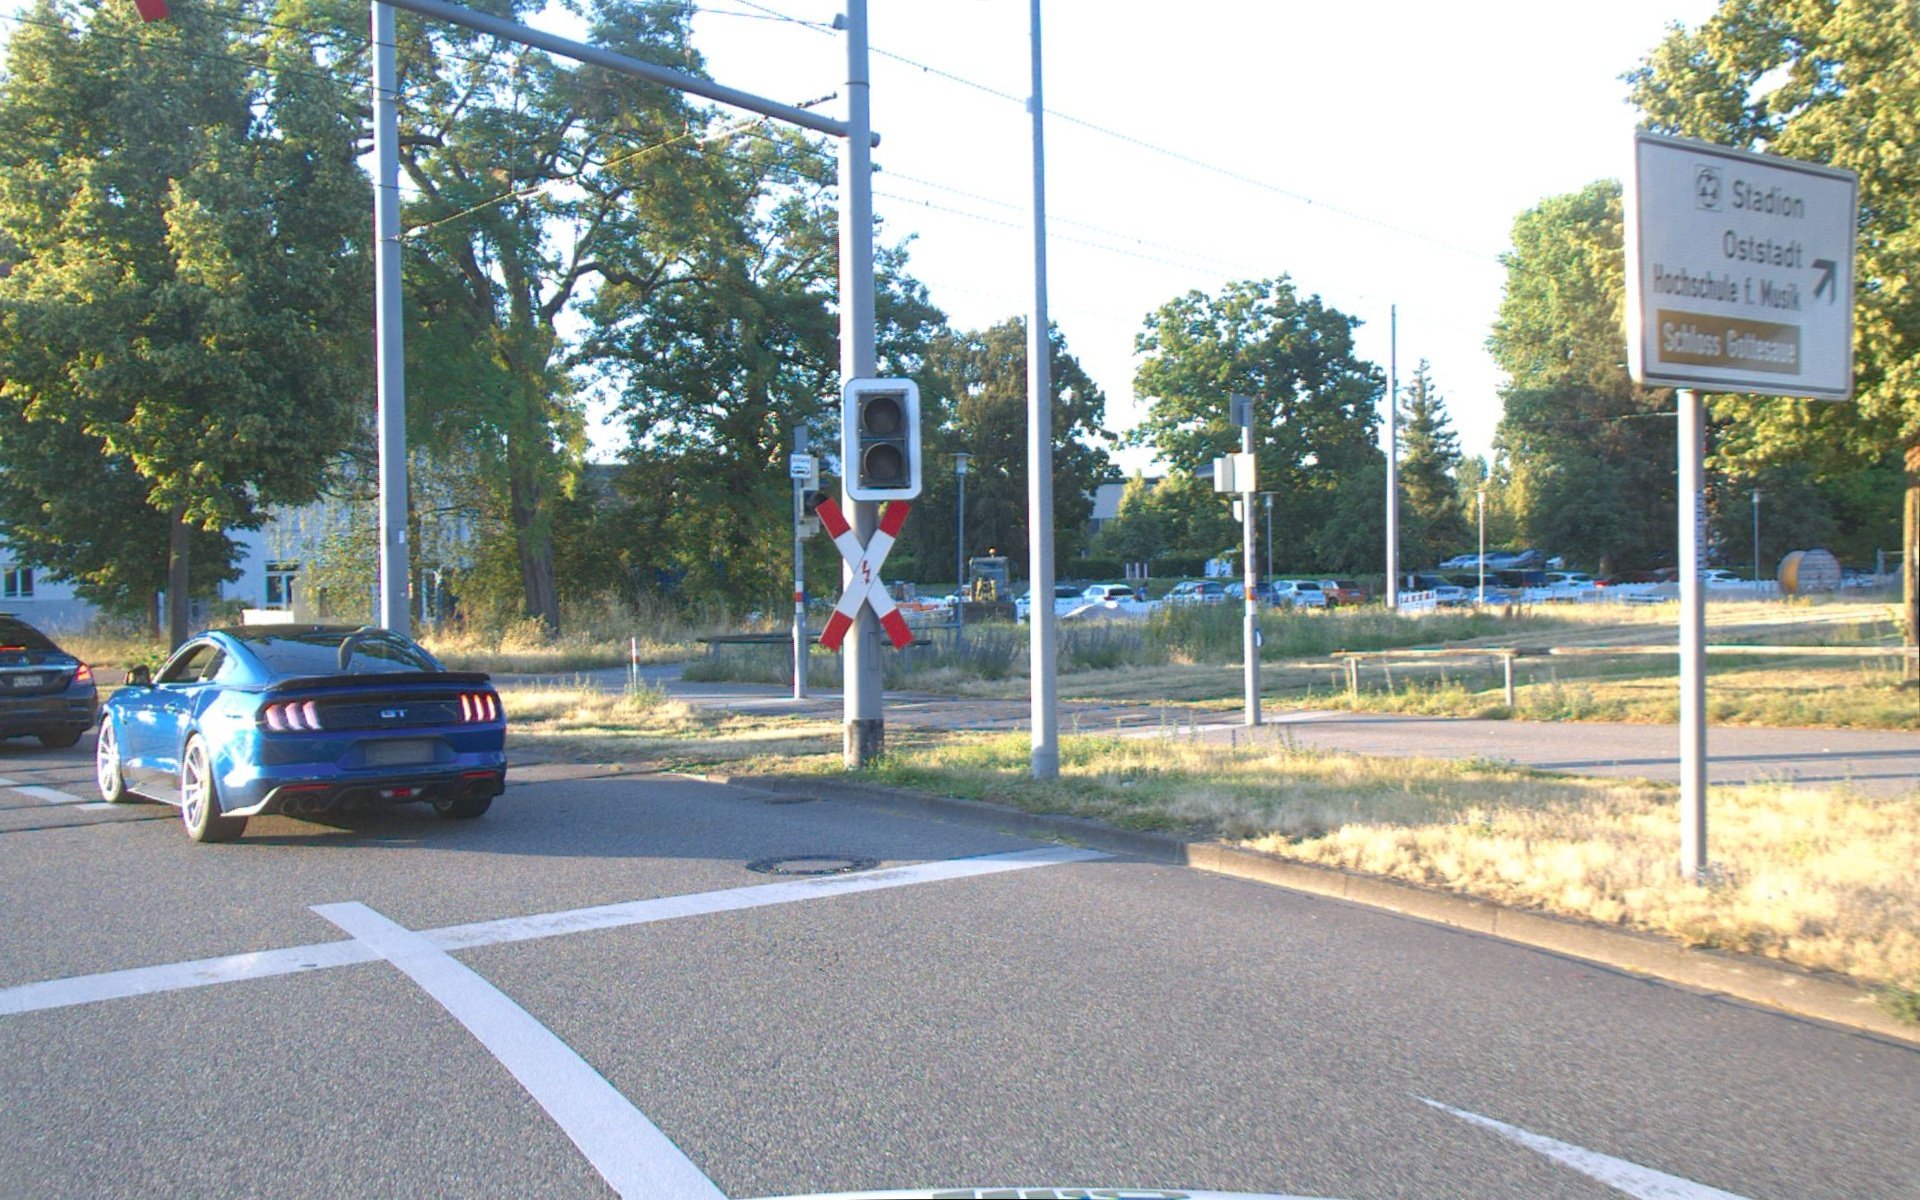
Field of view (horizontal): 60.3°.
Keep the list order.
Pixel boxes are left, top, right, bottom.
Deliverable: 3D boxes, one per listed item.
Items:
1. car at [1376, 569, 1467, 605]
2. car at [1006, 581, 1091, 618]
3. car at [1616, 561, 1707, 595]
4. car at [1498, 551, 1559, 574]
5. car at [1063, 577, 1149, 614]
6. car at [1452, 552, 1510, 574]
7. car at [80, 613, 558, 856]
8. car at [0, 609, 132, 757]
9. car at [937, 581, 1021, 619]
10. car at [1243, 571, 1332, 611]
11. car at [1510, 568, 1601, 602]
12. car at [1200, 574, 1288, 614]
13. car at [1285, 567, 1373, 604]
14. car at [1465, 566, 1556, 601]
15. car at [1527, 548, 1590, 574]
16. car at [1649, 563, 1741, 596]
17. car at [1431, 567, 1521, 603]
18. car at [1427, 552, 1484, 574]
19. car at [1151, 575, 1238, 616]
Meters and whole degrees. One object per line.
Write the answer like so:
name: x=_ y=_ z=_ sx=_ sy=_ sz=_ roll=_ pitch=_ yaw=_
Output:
car: x=21.394 y=-0.598 z=76.858 sx=1.874 sy=1.581 sz=4.066 roll=-1 pitch=0 yaw=-25
car: x=3.679 y=-0.008 z=69.468 sx=1.922 sy=1.471 sz=3.968 roll=-2 pitch=0 yaw=-25
car: x=34.832 y=-1.077 z=82.222 sx=1.874 sy=1.581 sz=3.968 roll=-1 pitch=0 yaw=-25
car: x=41.603 y=-2.732 z=121.087 sx=3.931 sy=1.581 sz=1.891 roll=-2 pitch=0 yaw=-22
car: x=6.159 y=-0.173 z=70.154 sx=1.922 sy=1.471 sz=3.968 roll=-2 pitch=0 yaw=-25
car: x=39.652 y=-2.823 z=125.829 sx=3.931 sy=1.581 sz=1.891 roll=-2 pitch=0 yaw=-22
car: x=-4.819 y=0.800 z=11.996 sx=1.939 sy=1.365 sz=4.604 roll=0 pitch=0 yaw=-39
car: x=-10.998 y=0.840 z=17.879 sx=4.342 sy=1.452 sz=1.950 roll=-1 pitch=0 yaw=37
car: x=0.760 y=-0.006 z=68.602 sx=1.922 sy=1.471 sz=3.968 roll=-2 pitch=0 yaw=-25
car: x=14.592 y=-0.389 z=73.942 sx=1.922 sy=1.691 sz=3.968 roll=-1 pitch=0 yaw=-25
car: x=28.587 y=-0.704 z=79.491 sx=1.874 sy=1.581 sz=3.968 roll=-1 pitch=0 yaw=-25
car: x=12.519 y=-0.267 z=73.206 sx=1.922 sy=1.691 sz=3.968 roll=-1 pitch=0 yaw=-25
car: x=16.779 y=-0.641 z=75.340 sx=1.874 sy=1.581 sz=3.968 roll=-1 pitch=0 yaw=-25
car: x=26.130 y=-0.786 z=78.645 sx=1.874 sy=1.581 sz=3.968 roll=-1 pitch=0 yaw=-25
car: x=42.692 y=-2.779 z=117.931 sx=3.933 sy=1.775 sz=1.986 roll=-2 pitch=1 yaw=-23
car: x=37.000 y=-1.030 z=83.321 sx=1.874 sy=1.581 sz=3.968 roll=-1 pitch=0 yaw=-25
car: x=24.212 y=-0.684 z=77.770 sx=1.874 sy=1.581 sz=3.968 roll=-1 pitch=0 yaw=-25
car: x=38.545 y=-2.858 z=128.758 sx=3.931 sy=1.581 sz=1.891 roll=-2 pitch=0 yaw=-22
car: x=10.249 y=-0.193 z=72.562 sx=1.922 sy=1.691 sz=3.968 roll=-1 pitch=0 yaw=-25
